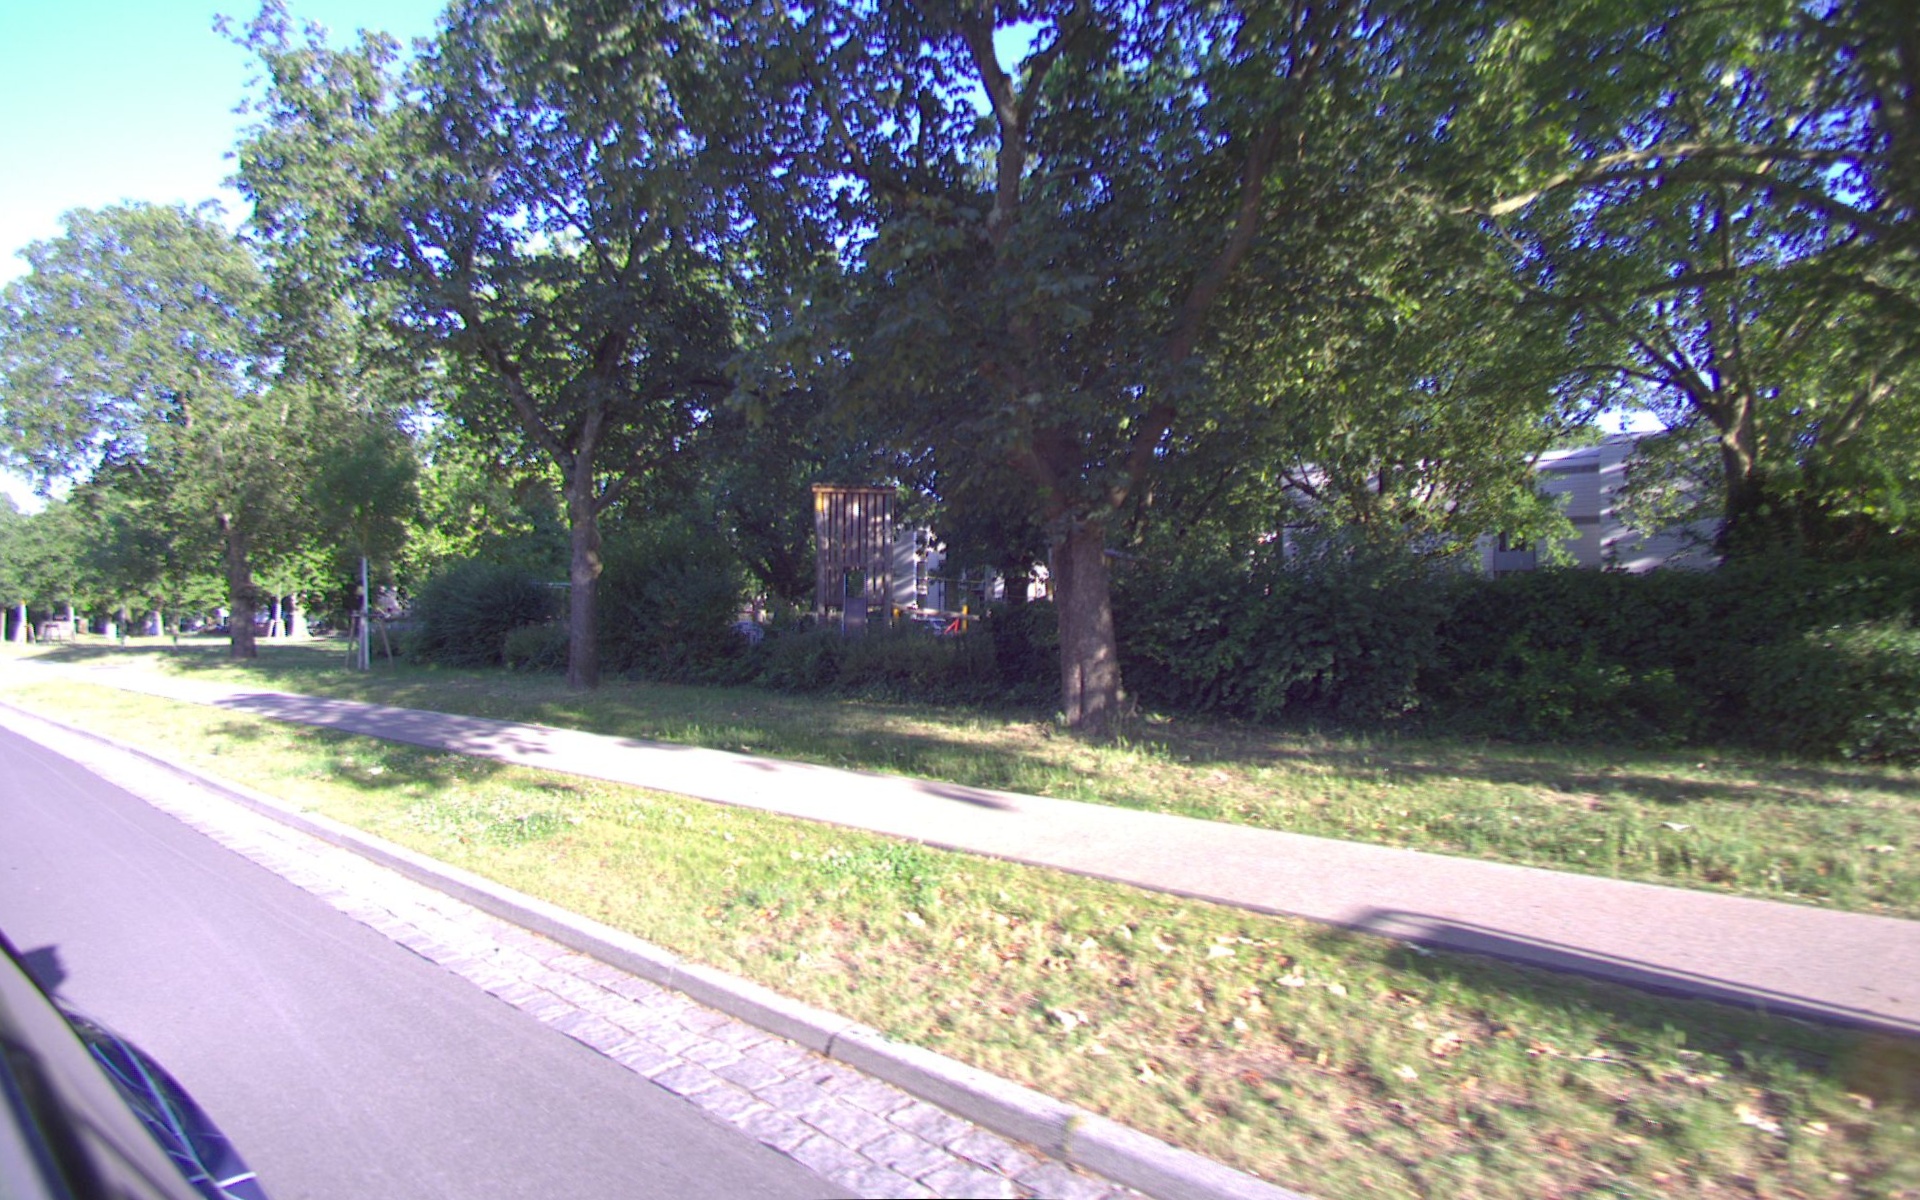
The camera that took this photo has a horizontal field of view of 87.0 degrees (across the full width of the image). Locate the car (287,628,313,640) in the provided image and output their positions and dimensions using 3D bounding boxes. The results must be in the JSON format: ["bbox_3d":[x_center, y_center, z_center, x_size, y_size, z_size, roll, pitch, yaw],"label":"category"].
[{"bbox_3d":[-85.486,4.403,131.146,3.997,1.475,1.773,-2,-2,41],"label":"car"}]

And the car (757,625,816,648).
[{"bbox_3d":[-11.123,2.350,64.759,4.106,1.378,1.506,-2,-2,41],"label":"car"}]

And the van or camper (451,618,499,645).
[{"bbox_3d":[-45.981,2.997,95.974,5.462,2.458,1.973,-2,-4,40],"label":"van or camper"}]

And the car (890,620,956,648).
[{"bbox_3d":[-2.120,1.898,56.701,3.663,1.475,1.582,-2,-2,43],"label":"car"}]
